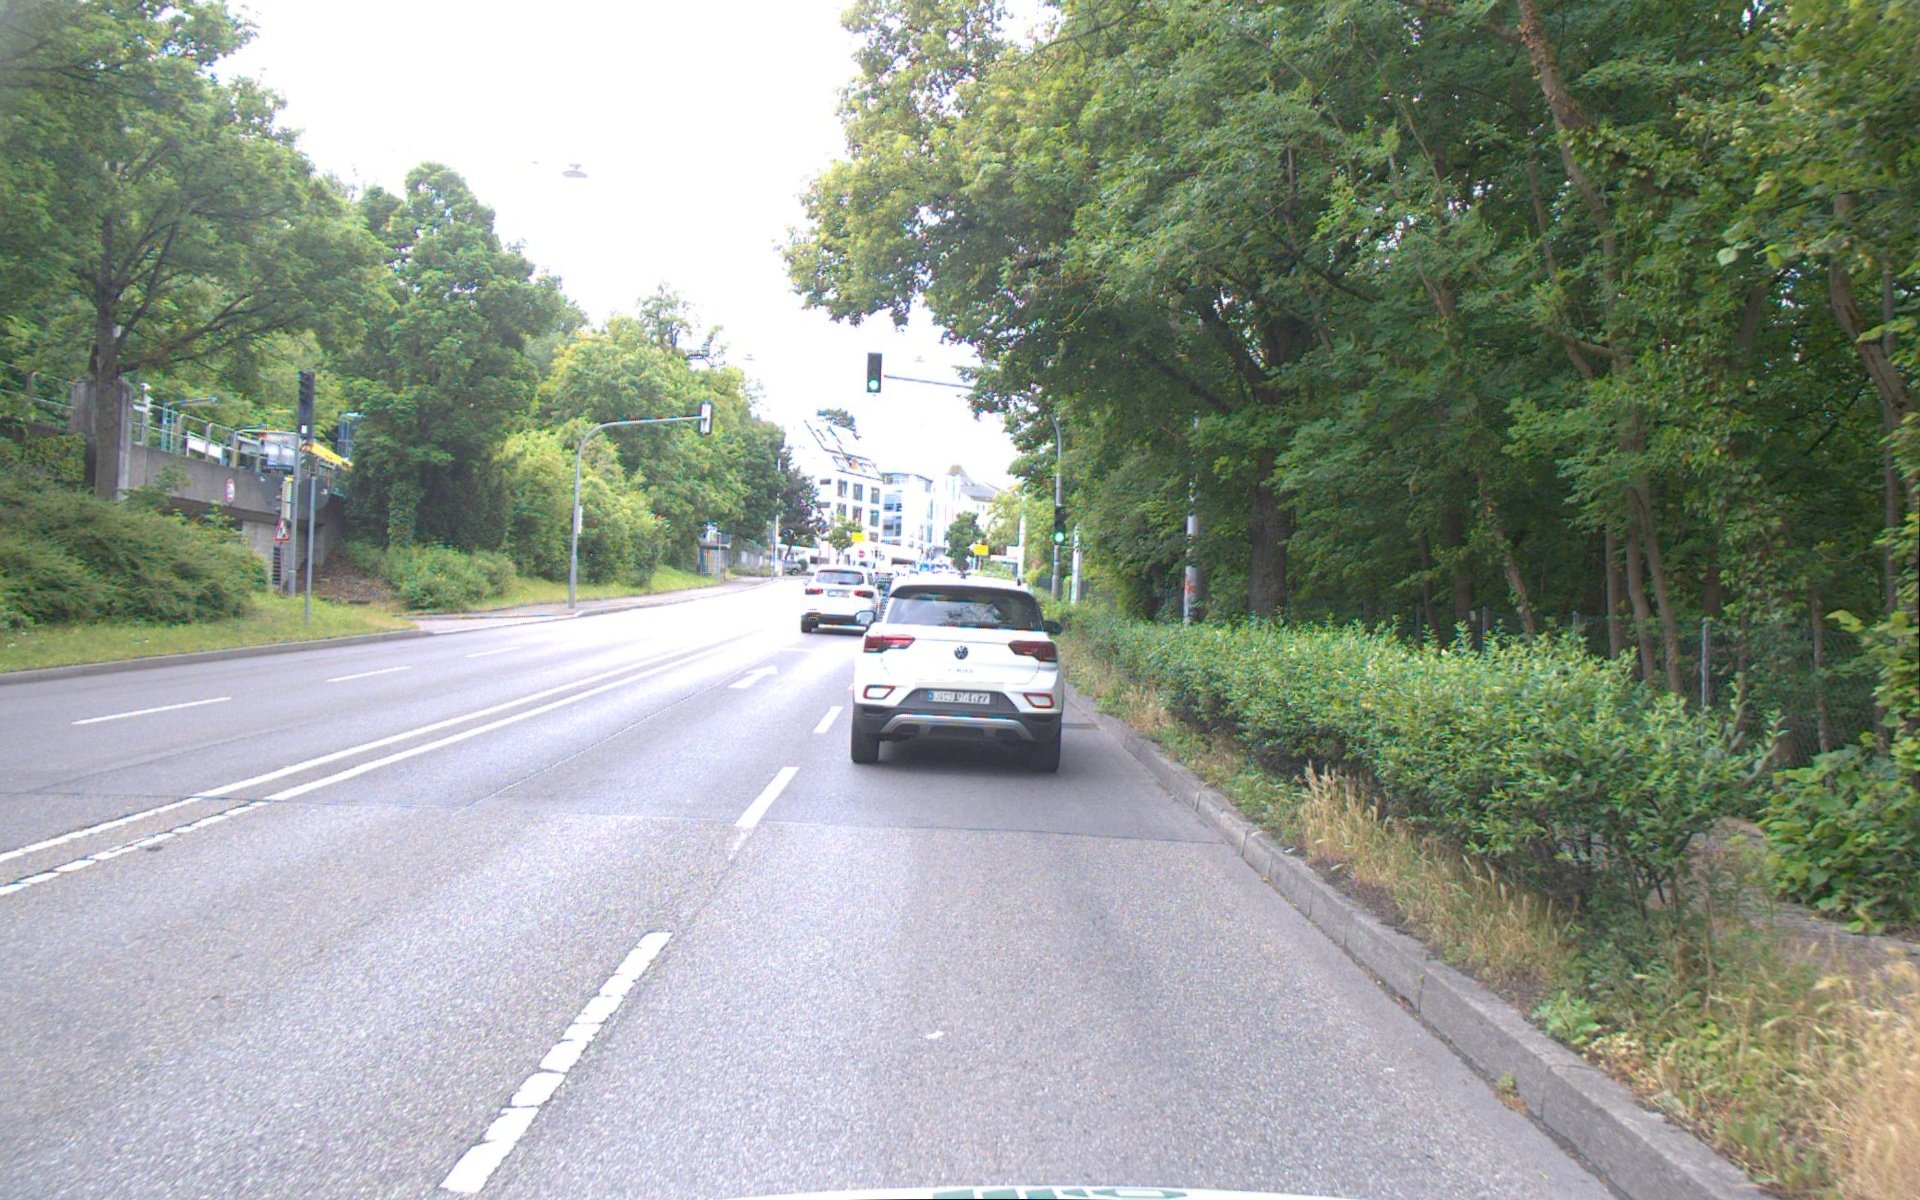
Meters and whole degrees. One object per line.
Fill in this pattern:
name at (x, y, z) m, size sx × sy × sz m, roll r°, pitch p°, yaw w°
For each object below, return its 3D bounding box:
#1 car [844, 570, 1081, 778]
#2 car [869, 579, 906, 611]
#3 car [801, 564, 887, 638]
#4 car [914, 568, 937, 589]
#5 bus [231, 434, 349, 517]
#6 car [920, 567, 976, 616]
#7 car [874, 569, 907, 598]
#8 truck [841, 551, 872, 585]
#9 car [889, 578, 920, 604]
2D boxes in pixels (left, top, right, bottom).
car at (-0.009, 0.542, 14.878) m, size 1.792 × 1.552 × 4.000 m, roll 2°, pitch 1°, yaw -1°
car at (-3.694, -0.289, 84.837) m, size 1.792 × 1.552 × 4.000 m, roll 1°, pitch 1°, yaw -1°
car at (-2.833, -0.004, 41.041) m, size 1.879 × 1.698 × 4.000 m, roll 1°, pitch 1°, yaw -1°
car at (-2.727, -1.735, 132.888) m, size 1.792 × 1.552 × 4.000 m, roll 1°, pitch 1°, yaw -1°
bus at (-28.550, -5.222, 70.852) m, size 2.492 × 2.838 × 7.933 m, roll 1°, pitch 0°, yaw -6°
car at (-0.414, -0.310, 56.224) m, size 1.792 × 1.552 × 4.000 m, roll 1°, pitch 1°, yaw -1°
car at (-3.985, -0.972, 95.580) m, size 1.792 × 1.552 × 4.000 m, roll 1°, pitch 1°, yaw -1°
truck at (-8.624, -2.687, 137.785) m, size 2.314 × 2.753 × 4.477 m, roll 1°, pitch 1°, yaw -1°
car at (-3.432, -0.564, 103.161) m, size 1.792 × 1.552 × 4.000 m, roll 1°, pitch 1°, yaw -1°
